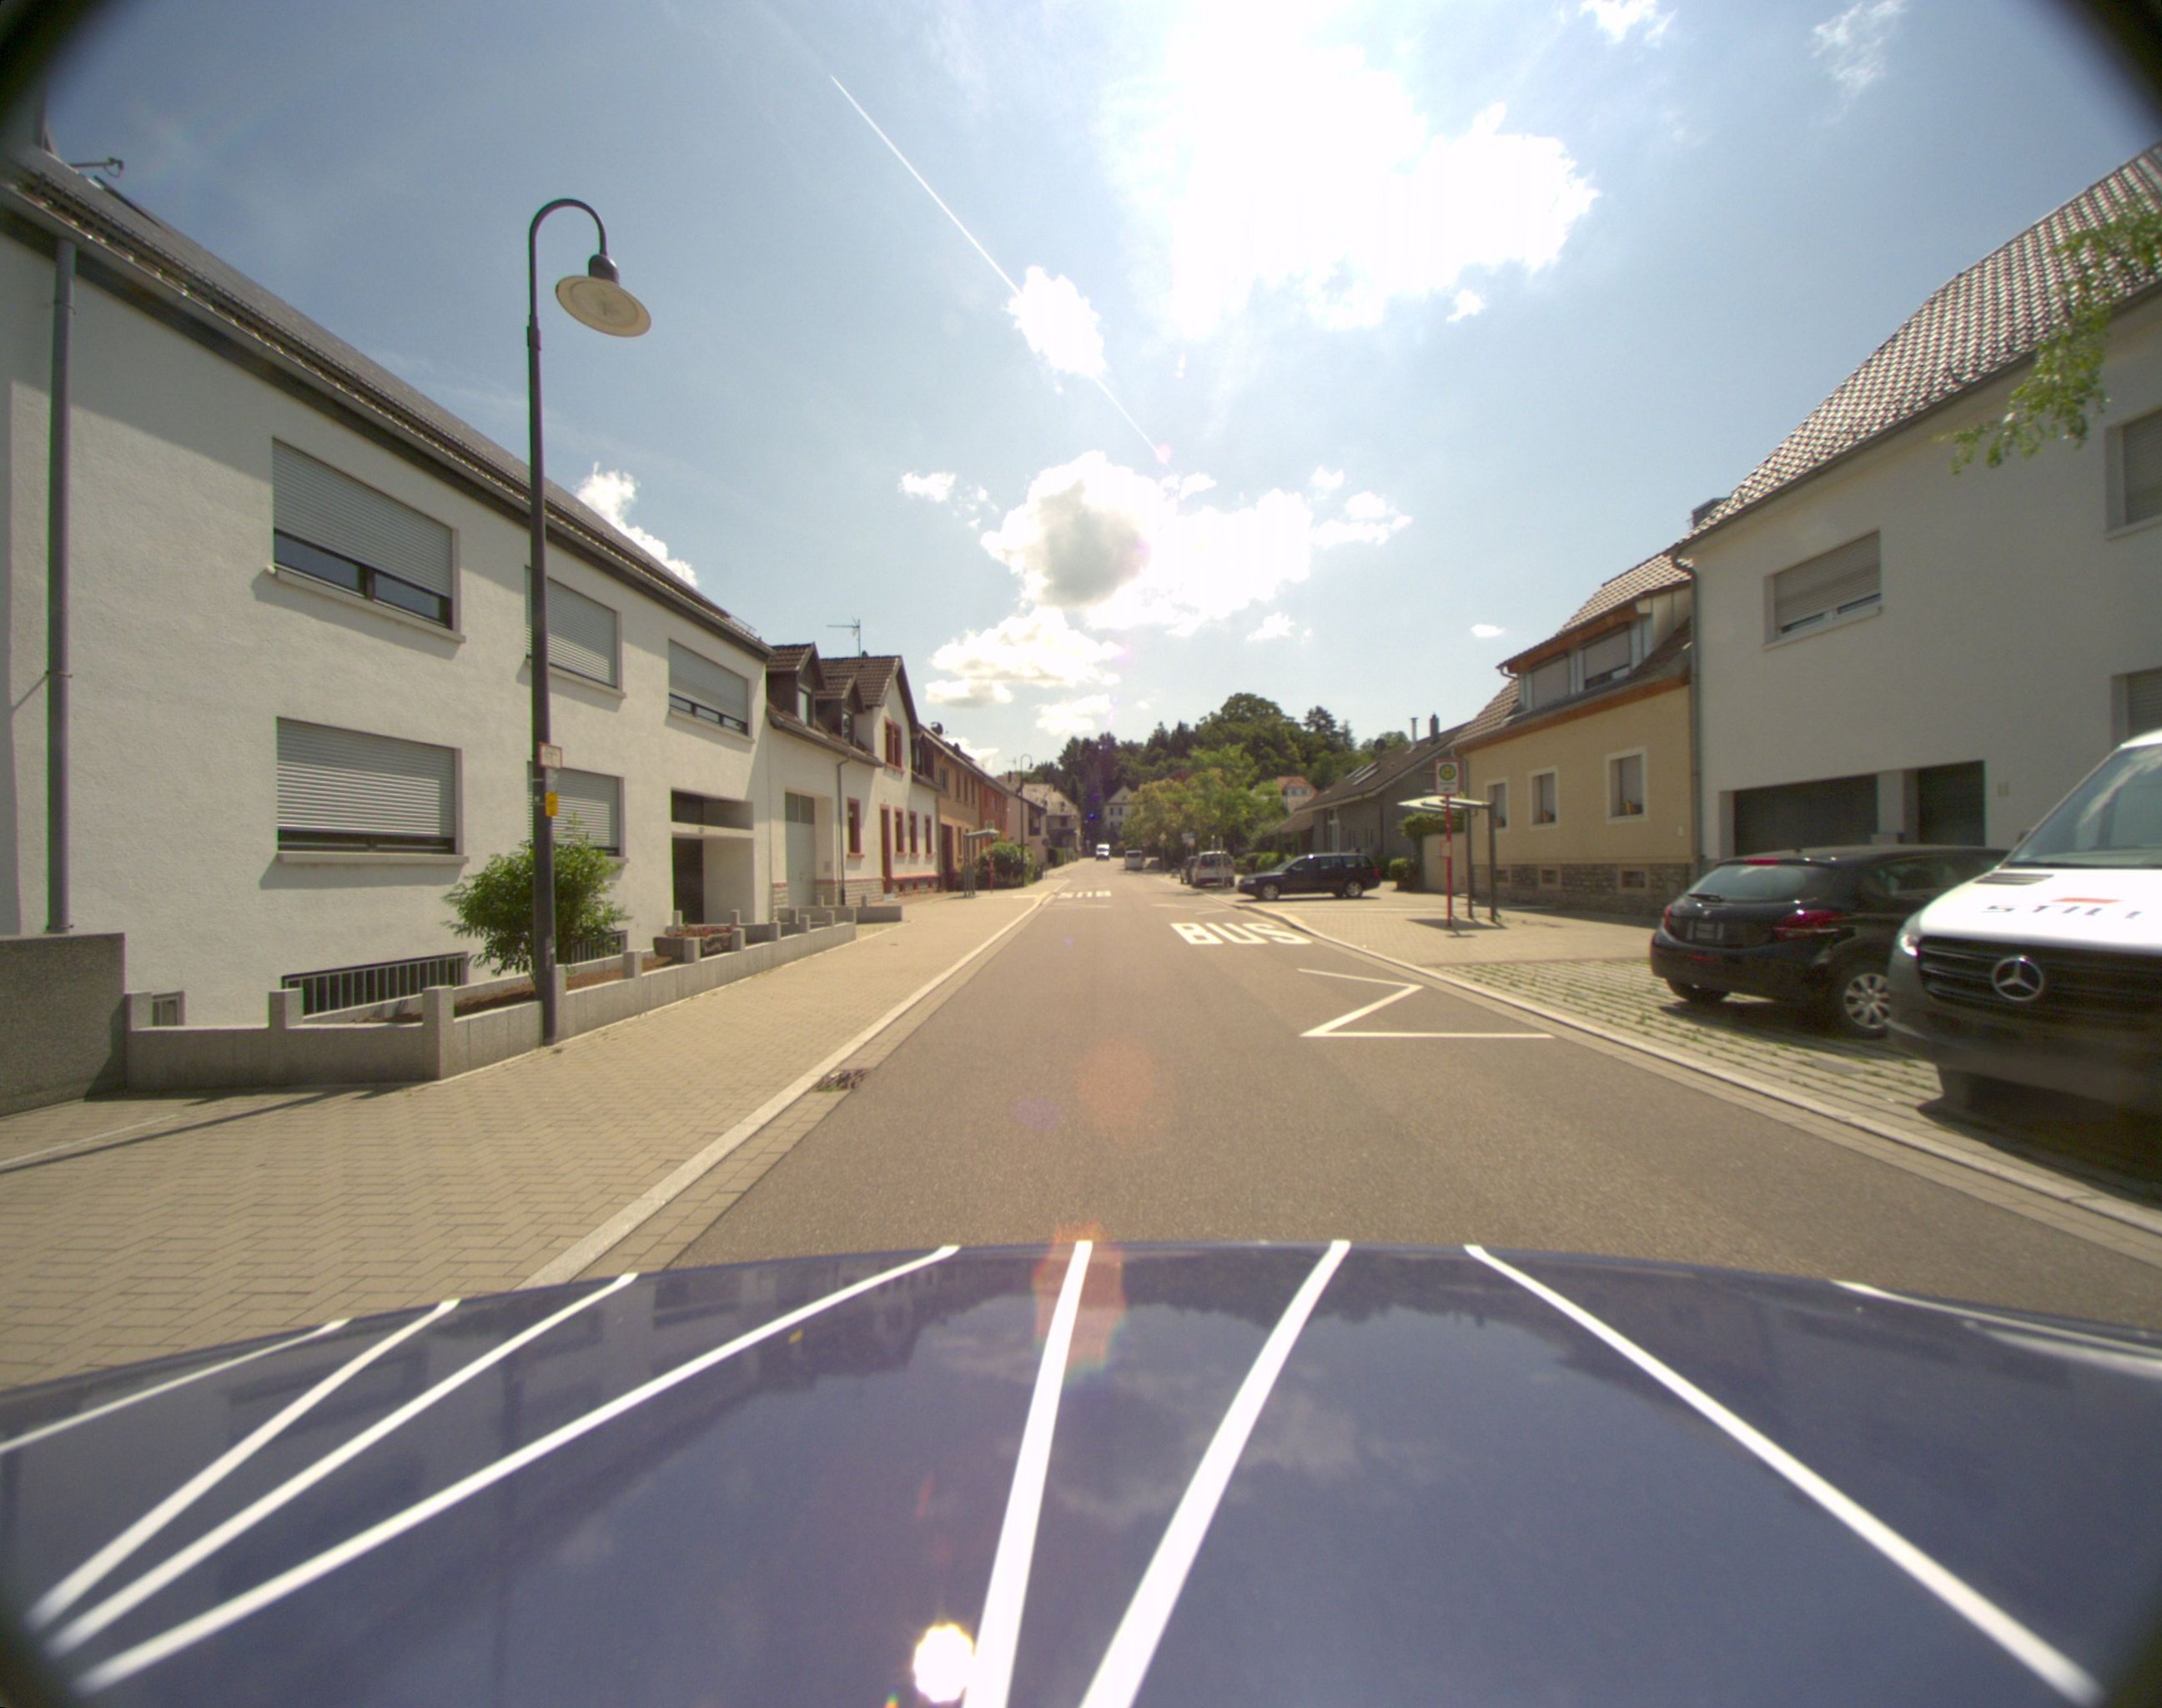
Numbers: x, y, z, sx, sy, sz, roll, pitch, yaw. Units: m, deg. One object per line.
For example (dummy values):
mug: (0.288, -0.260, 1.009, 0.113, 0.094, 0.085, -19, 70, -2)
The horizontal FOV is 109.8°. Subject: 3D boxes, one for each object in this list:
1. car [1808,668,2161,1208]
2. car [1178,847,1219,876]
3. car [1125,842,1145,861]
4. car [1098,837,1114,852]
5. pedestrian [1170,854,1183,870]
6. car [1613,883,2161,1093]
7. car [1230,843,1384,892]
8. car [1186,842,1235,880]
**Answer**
car: (7.126, 0.290, 3.654, 5.179, 2.275, 2.157, -2, 0, 0)
car: (6.600, 0.447, 43.072, 1.727, 1.515, 3.910, -2, -1, 0)
car: (5.784, -0.304, 81.667, 1.998, 1.968, 4.000, 0, 1, 1)
car: (3.911, -1.465, 120.695, 2.489, 2.306, 5.600, -2, 1, 1)
pedestrian: (7.047, 0.556, 56.010, 0.815, 1.135, 0.885, -2, 1, -2)
car: (7.269, 1.029, 6.595, 3.997, 1.437, 1.901, -1, 0, -1)
car: (7.454, 0.441, 25.446, 4.598, 1.508, 1.902, -1, 0, 1)
car: (6.294, 0.363, 37.385, 1.843, 1.737, 4.688, -2, -1, 3)
